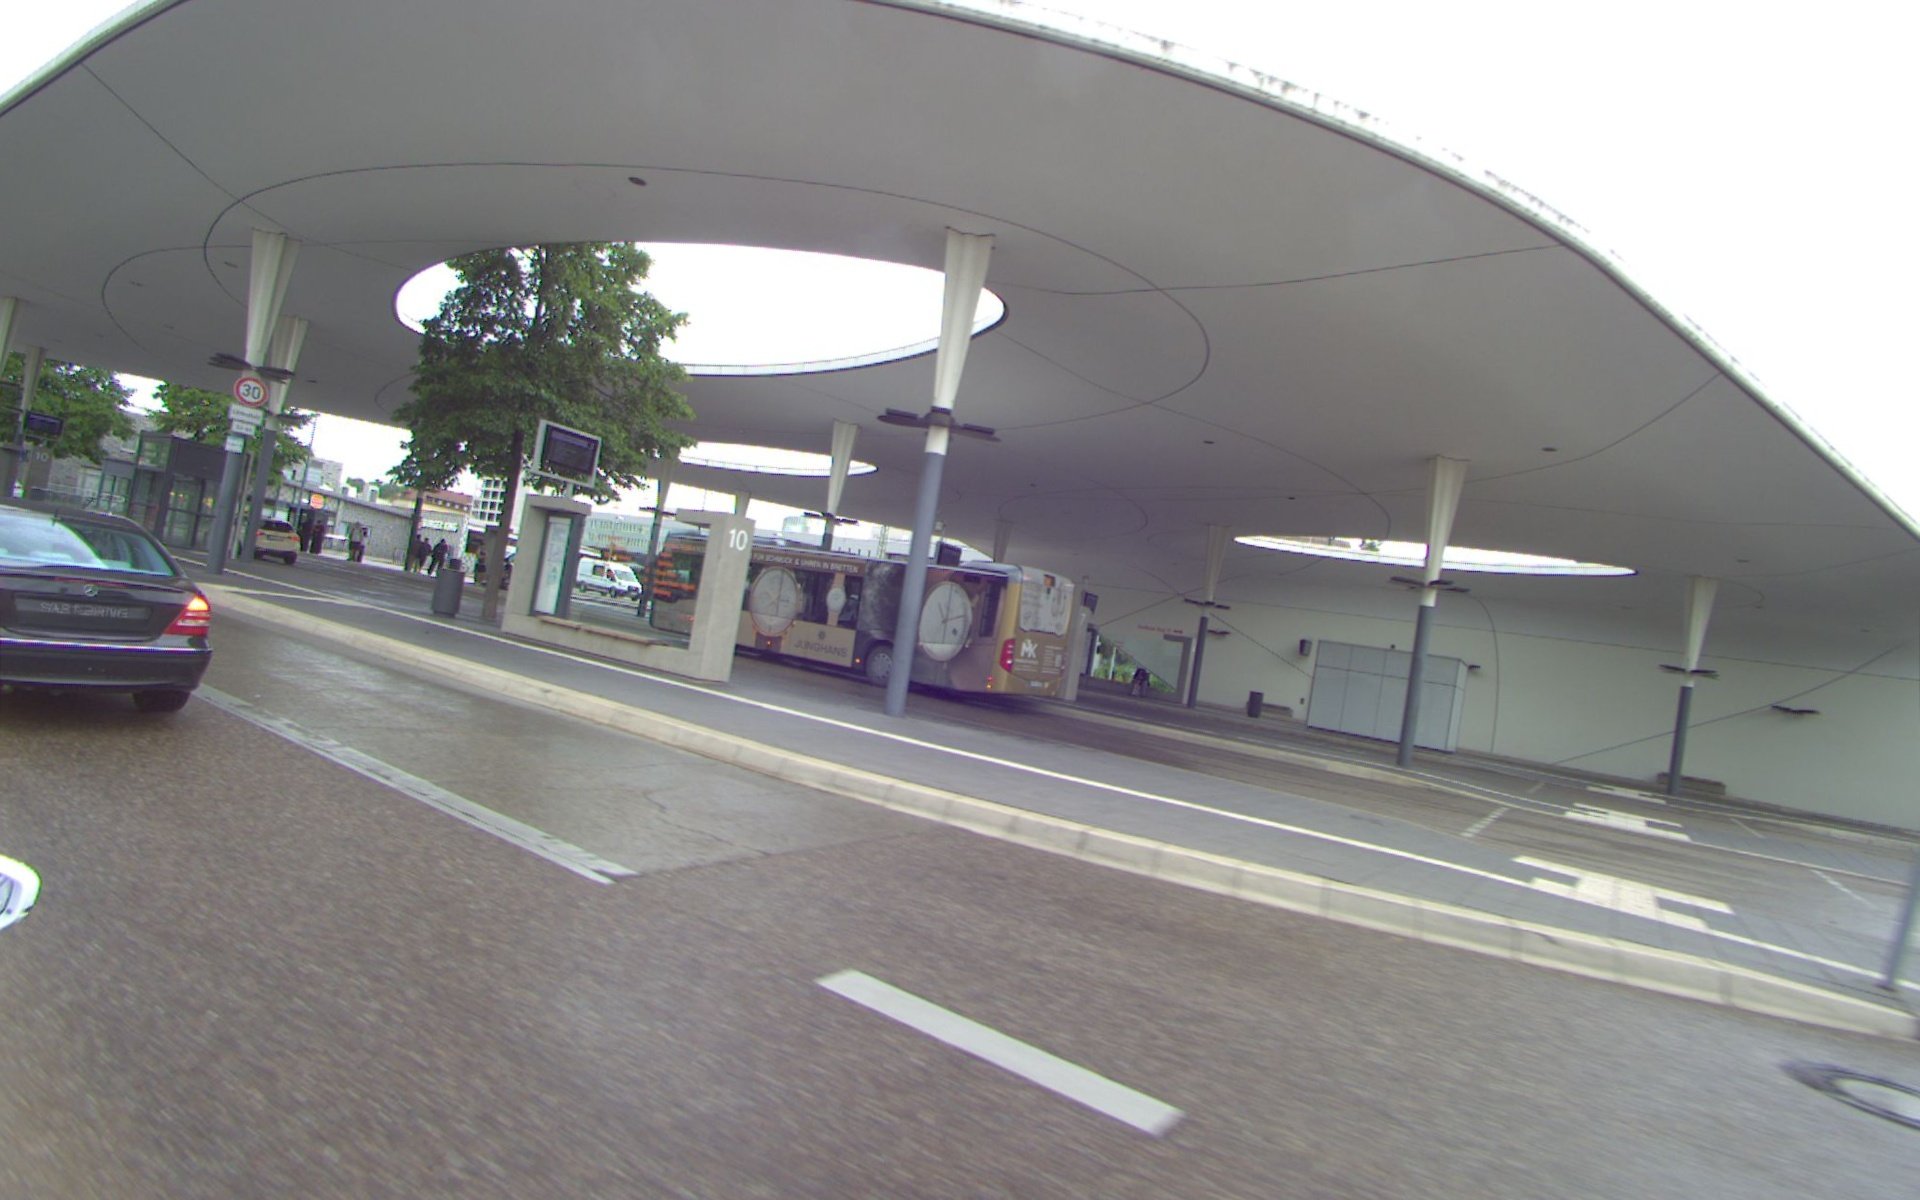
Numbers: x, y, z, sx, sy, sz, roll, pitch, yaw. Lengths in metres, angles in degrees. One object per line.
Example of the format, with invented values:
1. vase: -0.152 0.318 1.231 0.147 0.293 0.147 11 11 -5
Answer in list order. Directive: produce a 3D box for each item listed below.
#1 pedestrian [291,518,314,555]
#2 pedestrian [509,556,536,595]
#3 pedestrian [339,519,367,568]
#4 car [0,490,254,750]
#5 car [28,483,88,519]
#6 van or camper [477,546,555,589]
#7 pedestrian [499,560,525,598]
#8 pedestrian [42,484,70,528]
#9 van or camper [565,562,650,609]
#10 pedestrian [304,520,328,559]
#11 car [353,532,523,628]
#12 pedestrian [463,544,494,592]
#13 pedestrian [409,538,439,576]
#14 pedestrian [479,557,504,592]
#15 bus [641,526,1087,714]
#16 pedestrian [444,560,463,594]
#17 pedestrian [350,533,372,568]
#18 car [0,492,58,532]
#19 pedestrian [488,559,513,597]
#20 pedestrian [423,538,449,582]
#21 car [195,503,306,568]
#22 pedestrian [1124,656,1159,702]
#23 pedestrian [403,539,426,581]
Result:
1. pedestrian: -30.992 -2.966 47.402 0.574 1.592 0.559 10 -6 -25
2. pedestrian: -17.818 -1.006 40.944 0.625 1.460 0.561 7 -2 32
3. pedestrian: -27.394 -2.525 45.414 0.718 2.032 0.666 11 -6 -28
4. car: -7.169 -0.050 7.434 4.234 1.479 1.699 8 -1 34
5. car: -52.303 -5.724 58.304 3.352 1.577 1.544 8 -2 31
6. van or camper: -32.656 -2.367 74.185 2.075 2.295 4.697 7 -2 31
7. pedestrian: -18.642 -0.864 41.884 0.603 1.460 0.561 7 -2 32
8. pedestrian: -37.562 -3.904 41.819 0.570 1.697 0.579 8 -1 -29
9. van or camper: -25.239 -1.055 71.911 6.114 2.537 2.097 7 -2 32
10. pedestrian: -30.865 -2.898 48.212 0.573 1.731 0.560 10 -6 -20
11. car: -10.869 -0.425 20.917 3.185 1.469 1.650 8 -2 34
12. pedestrian: -18.386 -1.212 38.427 0.603 1.710 0.562 8 -1 29
13. pedestrian: -24.462 -1.953 45.917 0.759 1.592 0.583 7 -6 3
14. pedestrian: -19.799 -1.078 42.533 0.603 1.376 0.561 7 -2 32
15. bus: -2.910 0.277 25.036 11.898 3.079 2.724 8 -1 35
16. pedestrian: -22.599 -1.011 44.886 0.468 1.403 0.560 10 -6 -19
17. pedestrian: -29.201 -2.401 49.027 0.573 1.592 0.560 10 -6 -20
18. car: -51.679 -4.904 55.546 4.172 1.680 1.715 8 -3 35
19. pedestrian: -19.278 -0.920 42.214 0.603 1.460 0.561 7 -2 32
20. pedestrian: -22.483 -1.714 43.178 0.706 1.731 0.757 4 5 -42
21. car: -25.149 -2.293 35.618 4.172 1.680 1.715 8 -3 35
22. pedestrian: 6.986 3.031 38.721 0.893 1.602 0.797 7 -4 29
23. pedestrian: -22.374 -1.628 41.235 0.594 1.598 0.706 9 -4 -31
